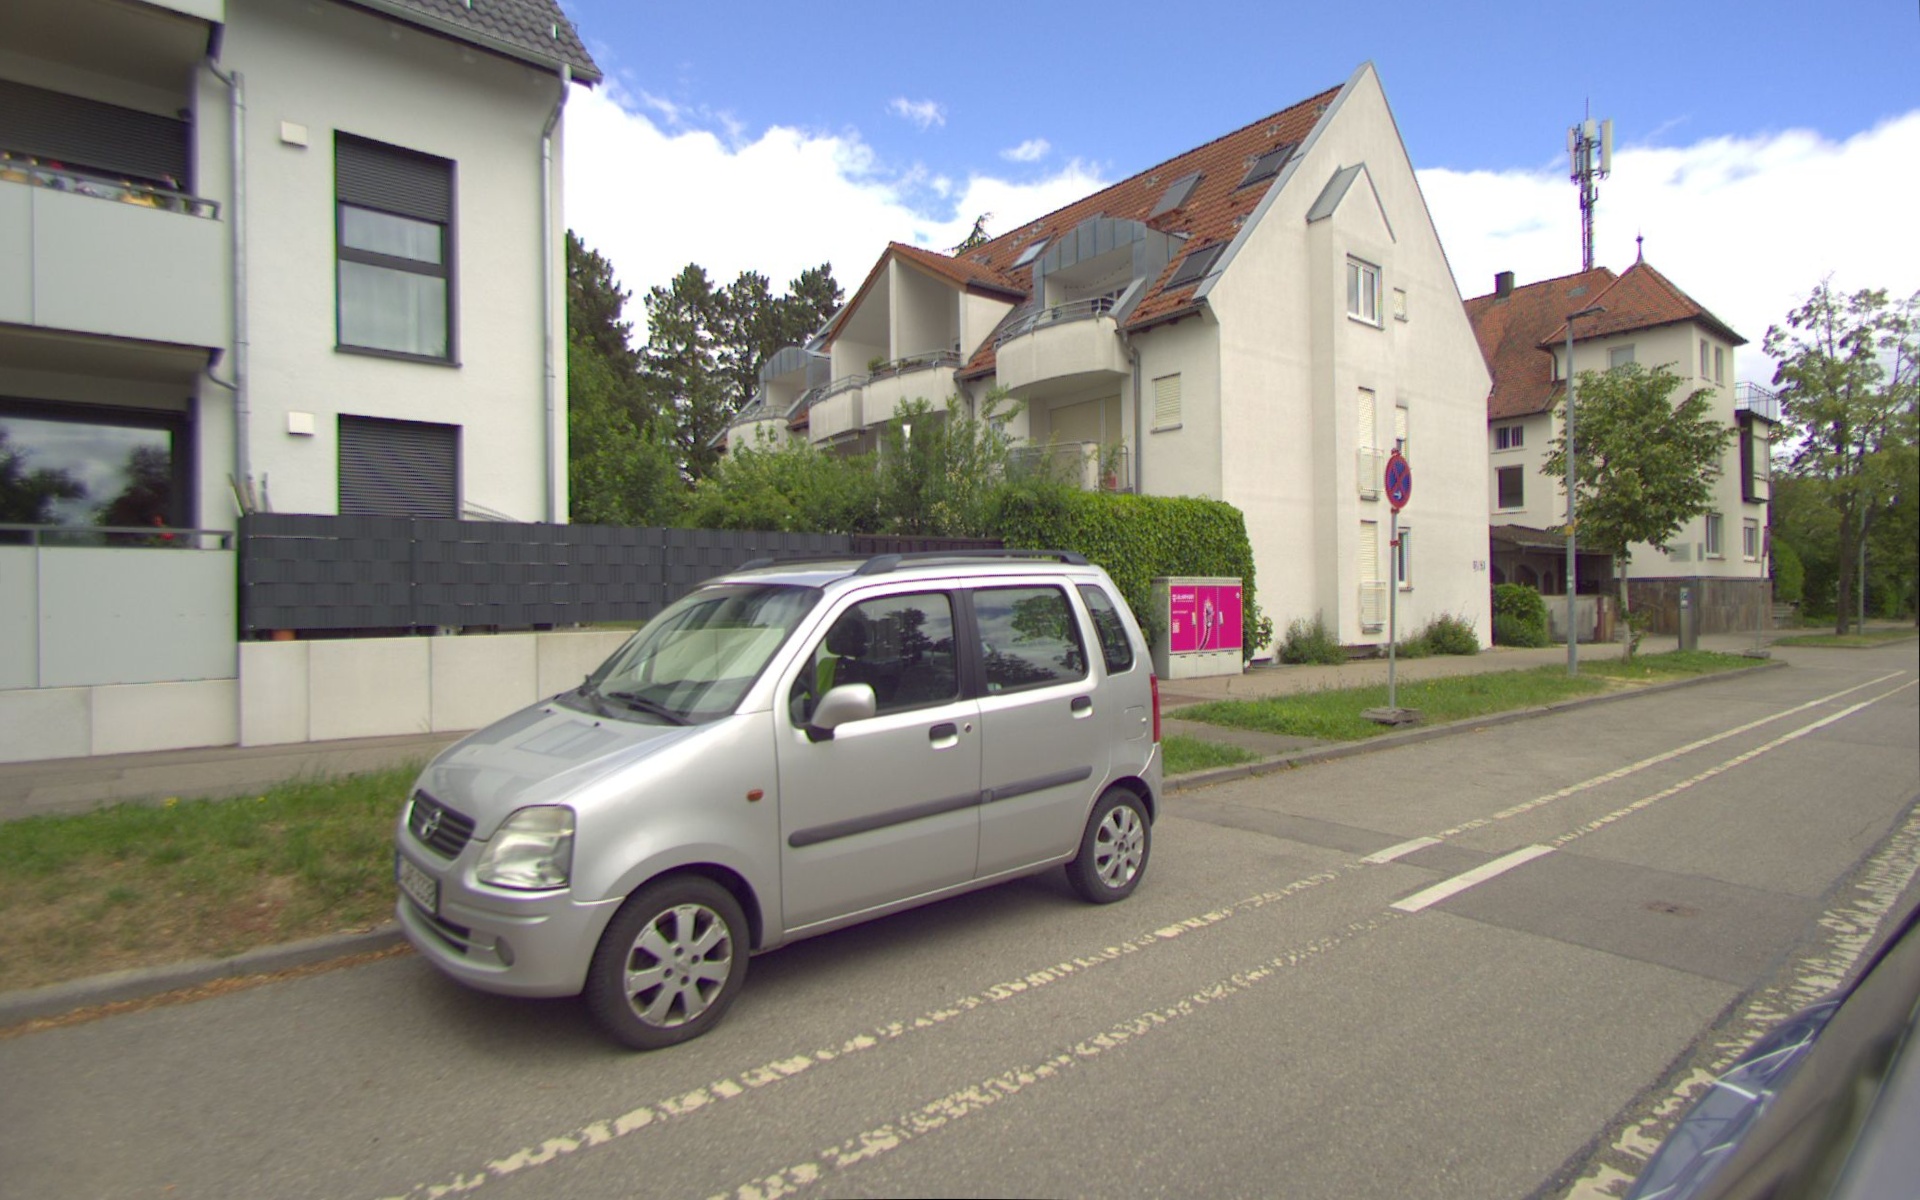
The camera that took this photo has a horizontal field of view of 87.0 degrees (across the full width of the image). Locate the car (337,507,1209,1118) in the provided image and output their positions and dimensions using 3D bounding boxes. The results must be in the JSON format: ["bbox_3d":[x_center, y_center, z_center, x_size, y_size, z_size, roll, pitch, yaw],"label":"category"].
[{"bbox_3d":[-0.613,0.569,4.594,3.584,1.686,1.635,0,0,-41],"label":"car"}]
